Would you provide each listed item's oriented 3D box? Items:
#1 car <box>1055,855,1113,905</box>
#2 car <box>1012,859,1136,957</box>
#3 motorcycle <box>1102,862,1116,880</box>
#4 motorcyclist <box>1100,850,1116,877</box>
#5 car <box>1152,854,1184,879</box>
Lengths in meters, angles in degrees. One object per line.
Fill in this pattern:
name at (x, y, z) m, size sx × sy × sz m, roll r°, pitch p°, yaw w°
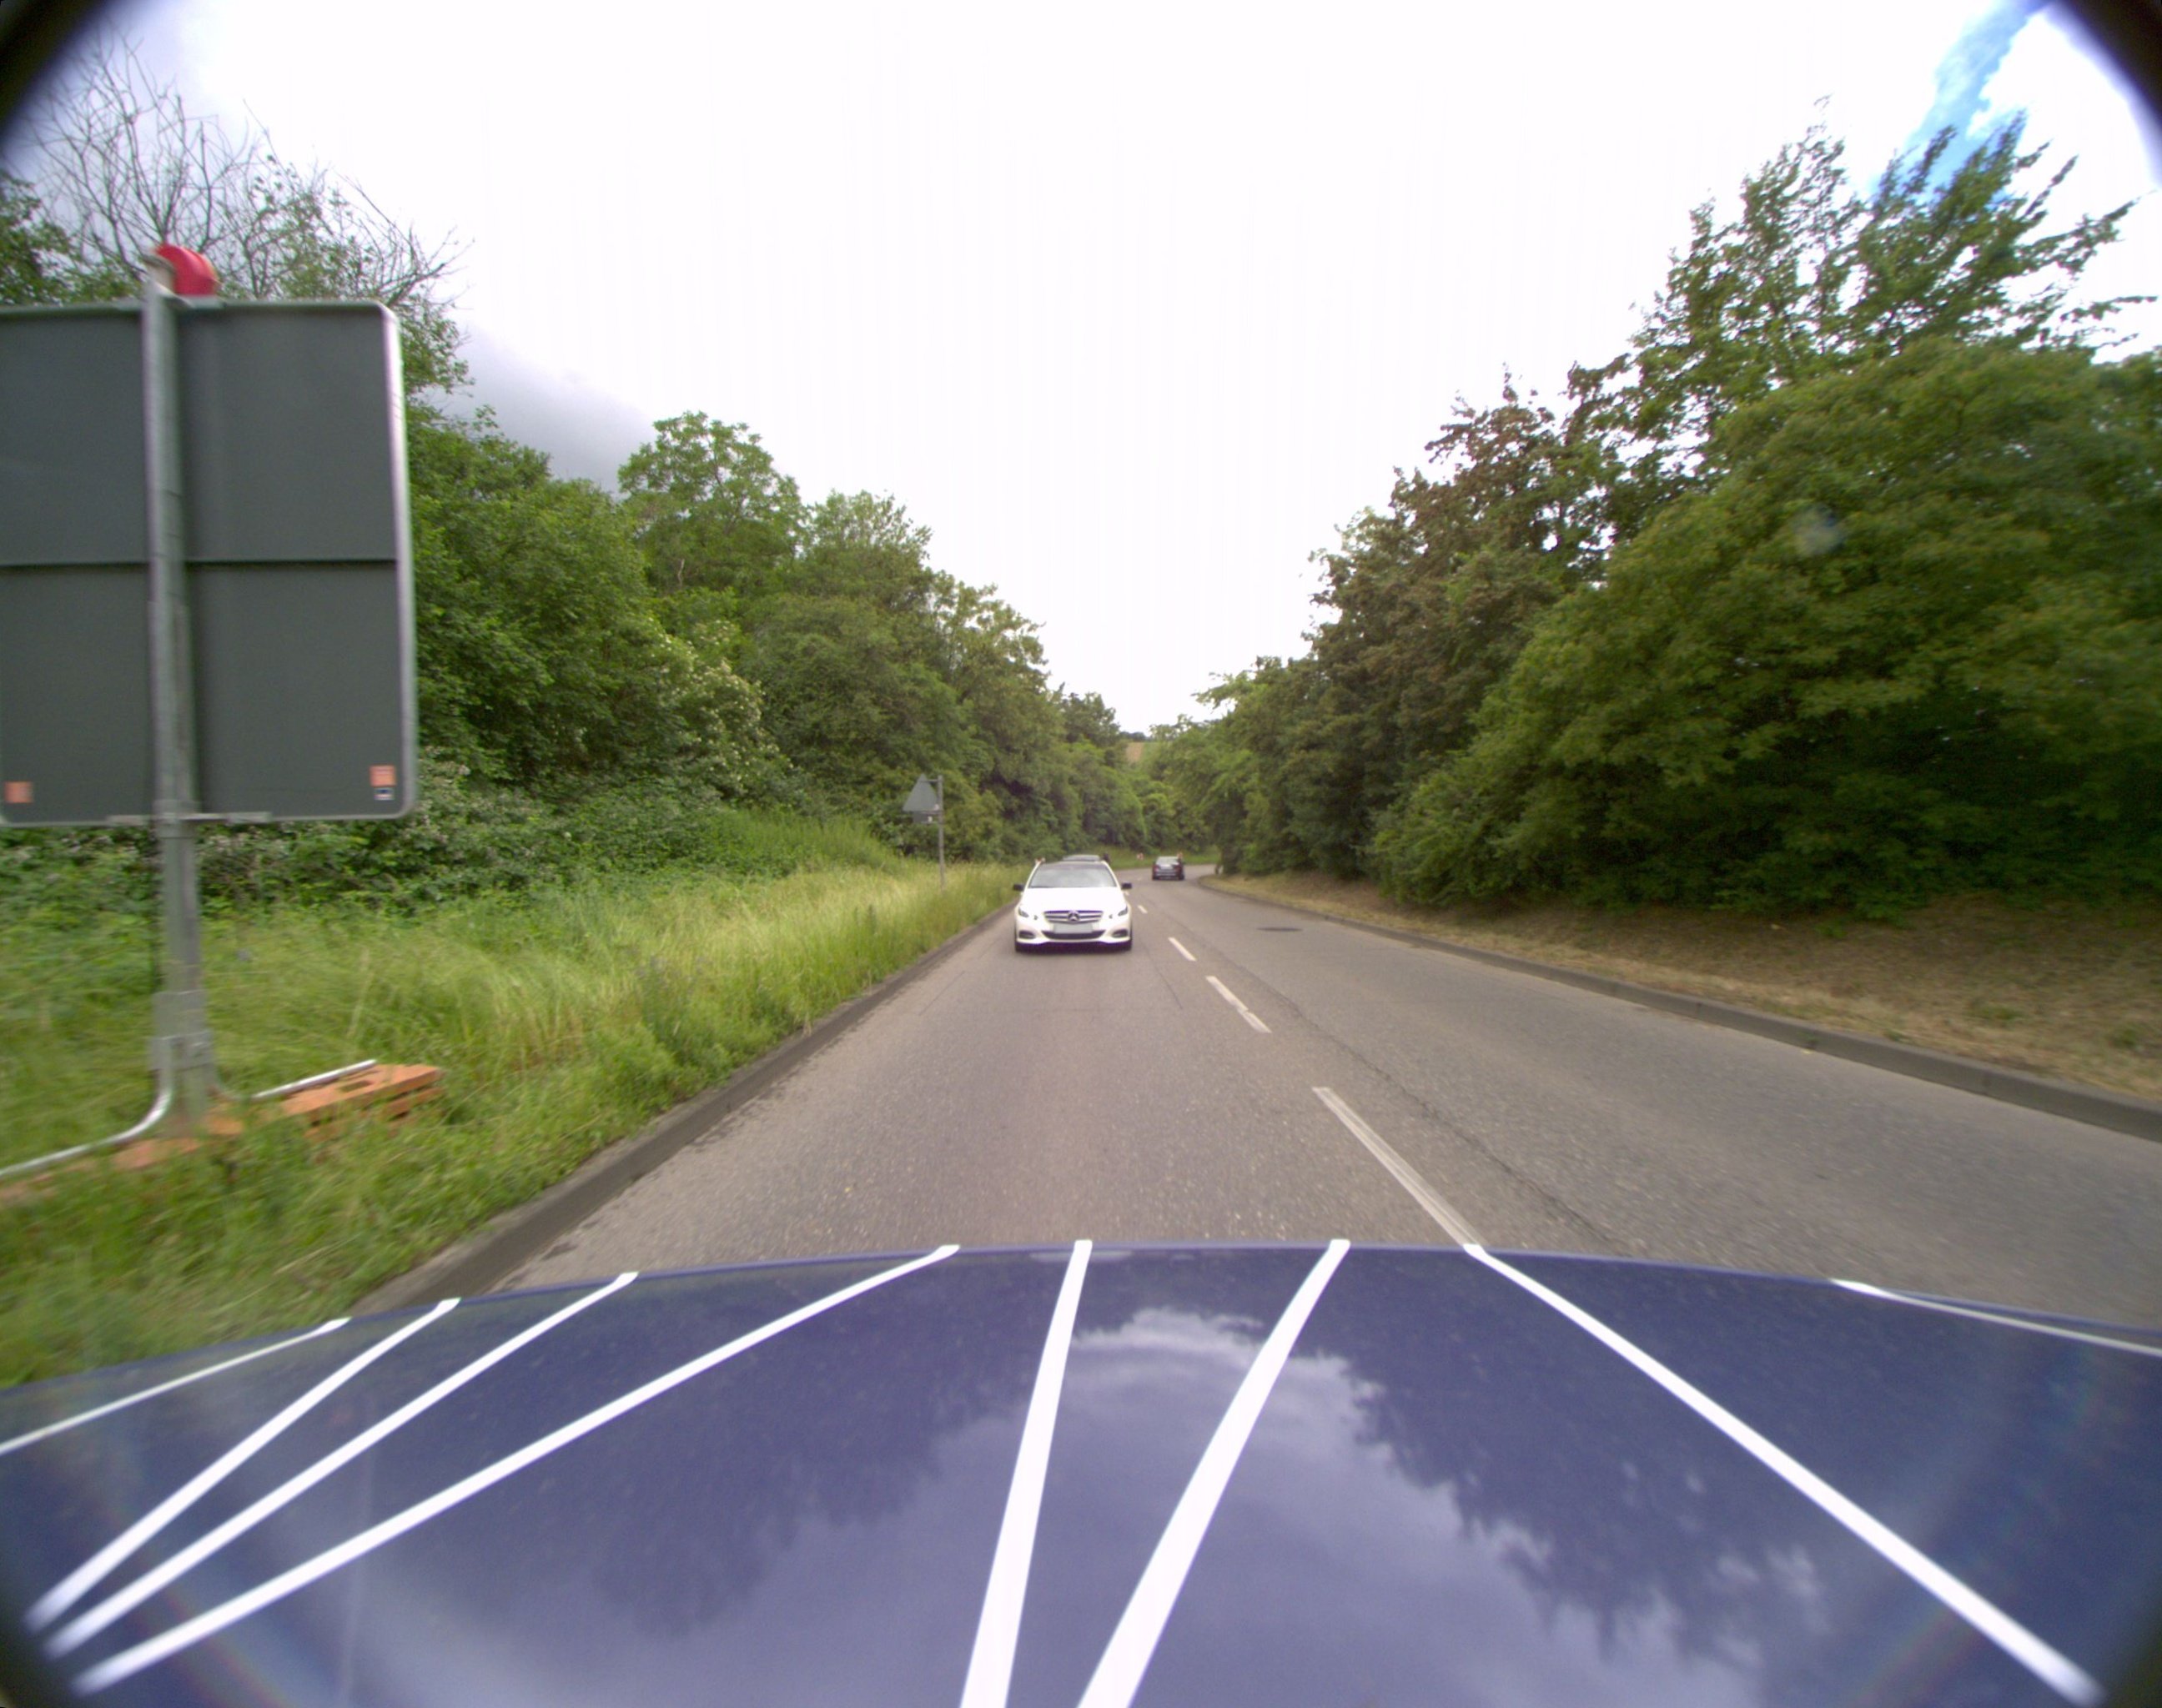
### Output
car at (0.158, 0.835, 26.073) m, size 1.822 × 1.535 × 3.726 m, roll 0°, pitch 0°, yaw 2°
car at (-0.139, 0.861, 13.950) m, size 1.887 × 1.414 × 3.999 m, roll -2°, pitch 1°, yaw -1°
motorcycle at (1.565, 0.936, 42.822) m, size 0.702 × 0.970 × 1.695 m, roll -1°, pitch 0°, yaw 4°
motorcyclist at (1.525, 0.513, 42.511) m, size 0.818 × 1.457 × 0.787 m, roll -1°, pitch 1°, yaw 5°
car at (5.402, 0.737, 47.011) m, size 1.834 × 1.397 × 4.434 m, roll -1°, pitch 0°, yaw 8°
